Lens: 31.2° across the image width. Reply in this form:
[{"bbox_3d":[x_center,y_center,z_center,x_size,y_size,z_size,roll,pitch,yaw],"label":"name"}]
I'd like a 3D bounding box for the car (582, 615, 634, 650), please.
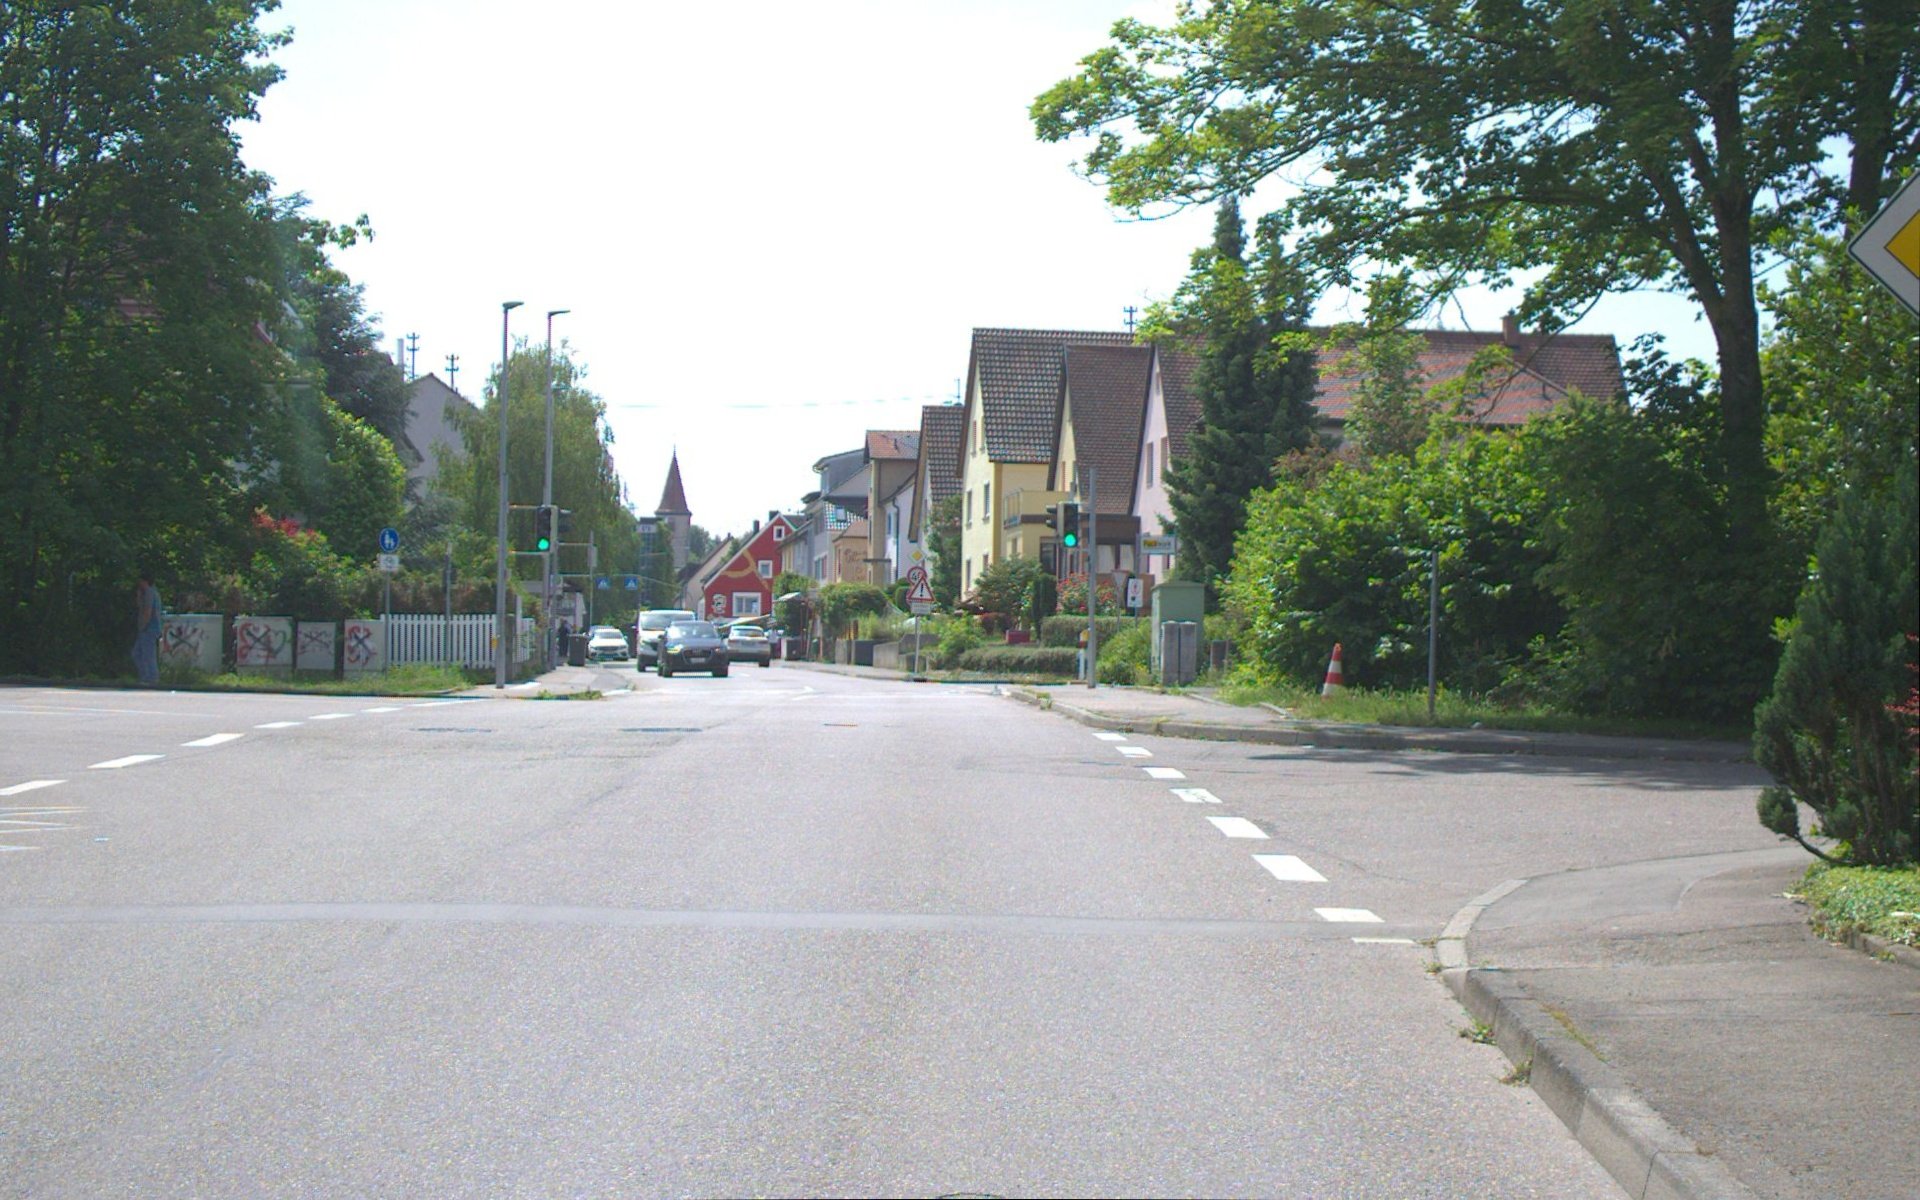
[{"bbox_3d":[-16.247,1.499,158.785,2.110,1.555,4.314,1,-1,-2],"label":"car"}]

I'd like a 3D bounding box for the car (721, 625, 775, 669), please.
[{"bbox_3d":[-8.351,1.852,135.798,1.993,1.598,4.000,0,1,-2],"label":"car"}]

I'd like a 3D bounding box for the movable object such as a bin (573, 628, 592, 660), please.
[{"bbox_3d":[-12.866,1.501,117.132,0.607,1.042,0.725,2,1,-7],"label":"movable object such as a bin"}]

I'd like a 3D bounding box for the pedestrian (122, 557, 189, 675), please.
[{"bbox_3d":[-12.338,0.250,52.717,0.736,1.771,0.689,-1,-2,18],"label":"pedestrian"}]

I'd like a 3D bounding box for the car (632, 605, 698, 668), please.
[{"bbox_3d":[-9.517,1.187,110.535,1.879,1.958,4.903,-1,-1,-7],"label":"car"}]

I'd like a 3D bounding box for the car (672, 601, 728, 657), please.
[{"bbox_3d":[-7.376,0.811,97.539,1.534,1.536,4.305,1,0,-5],"label":"car"}]
